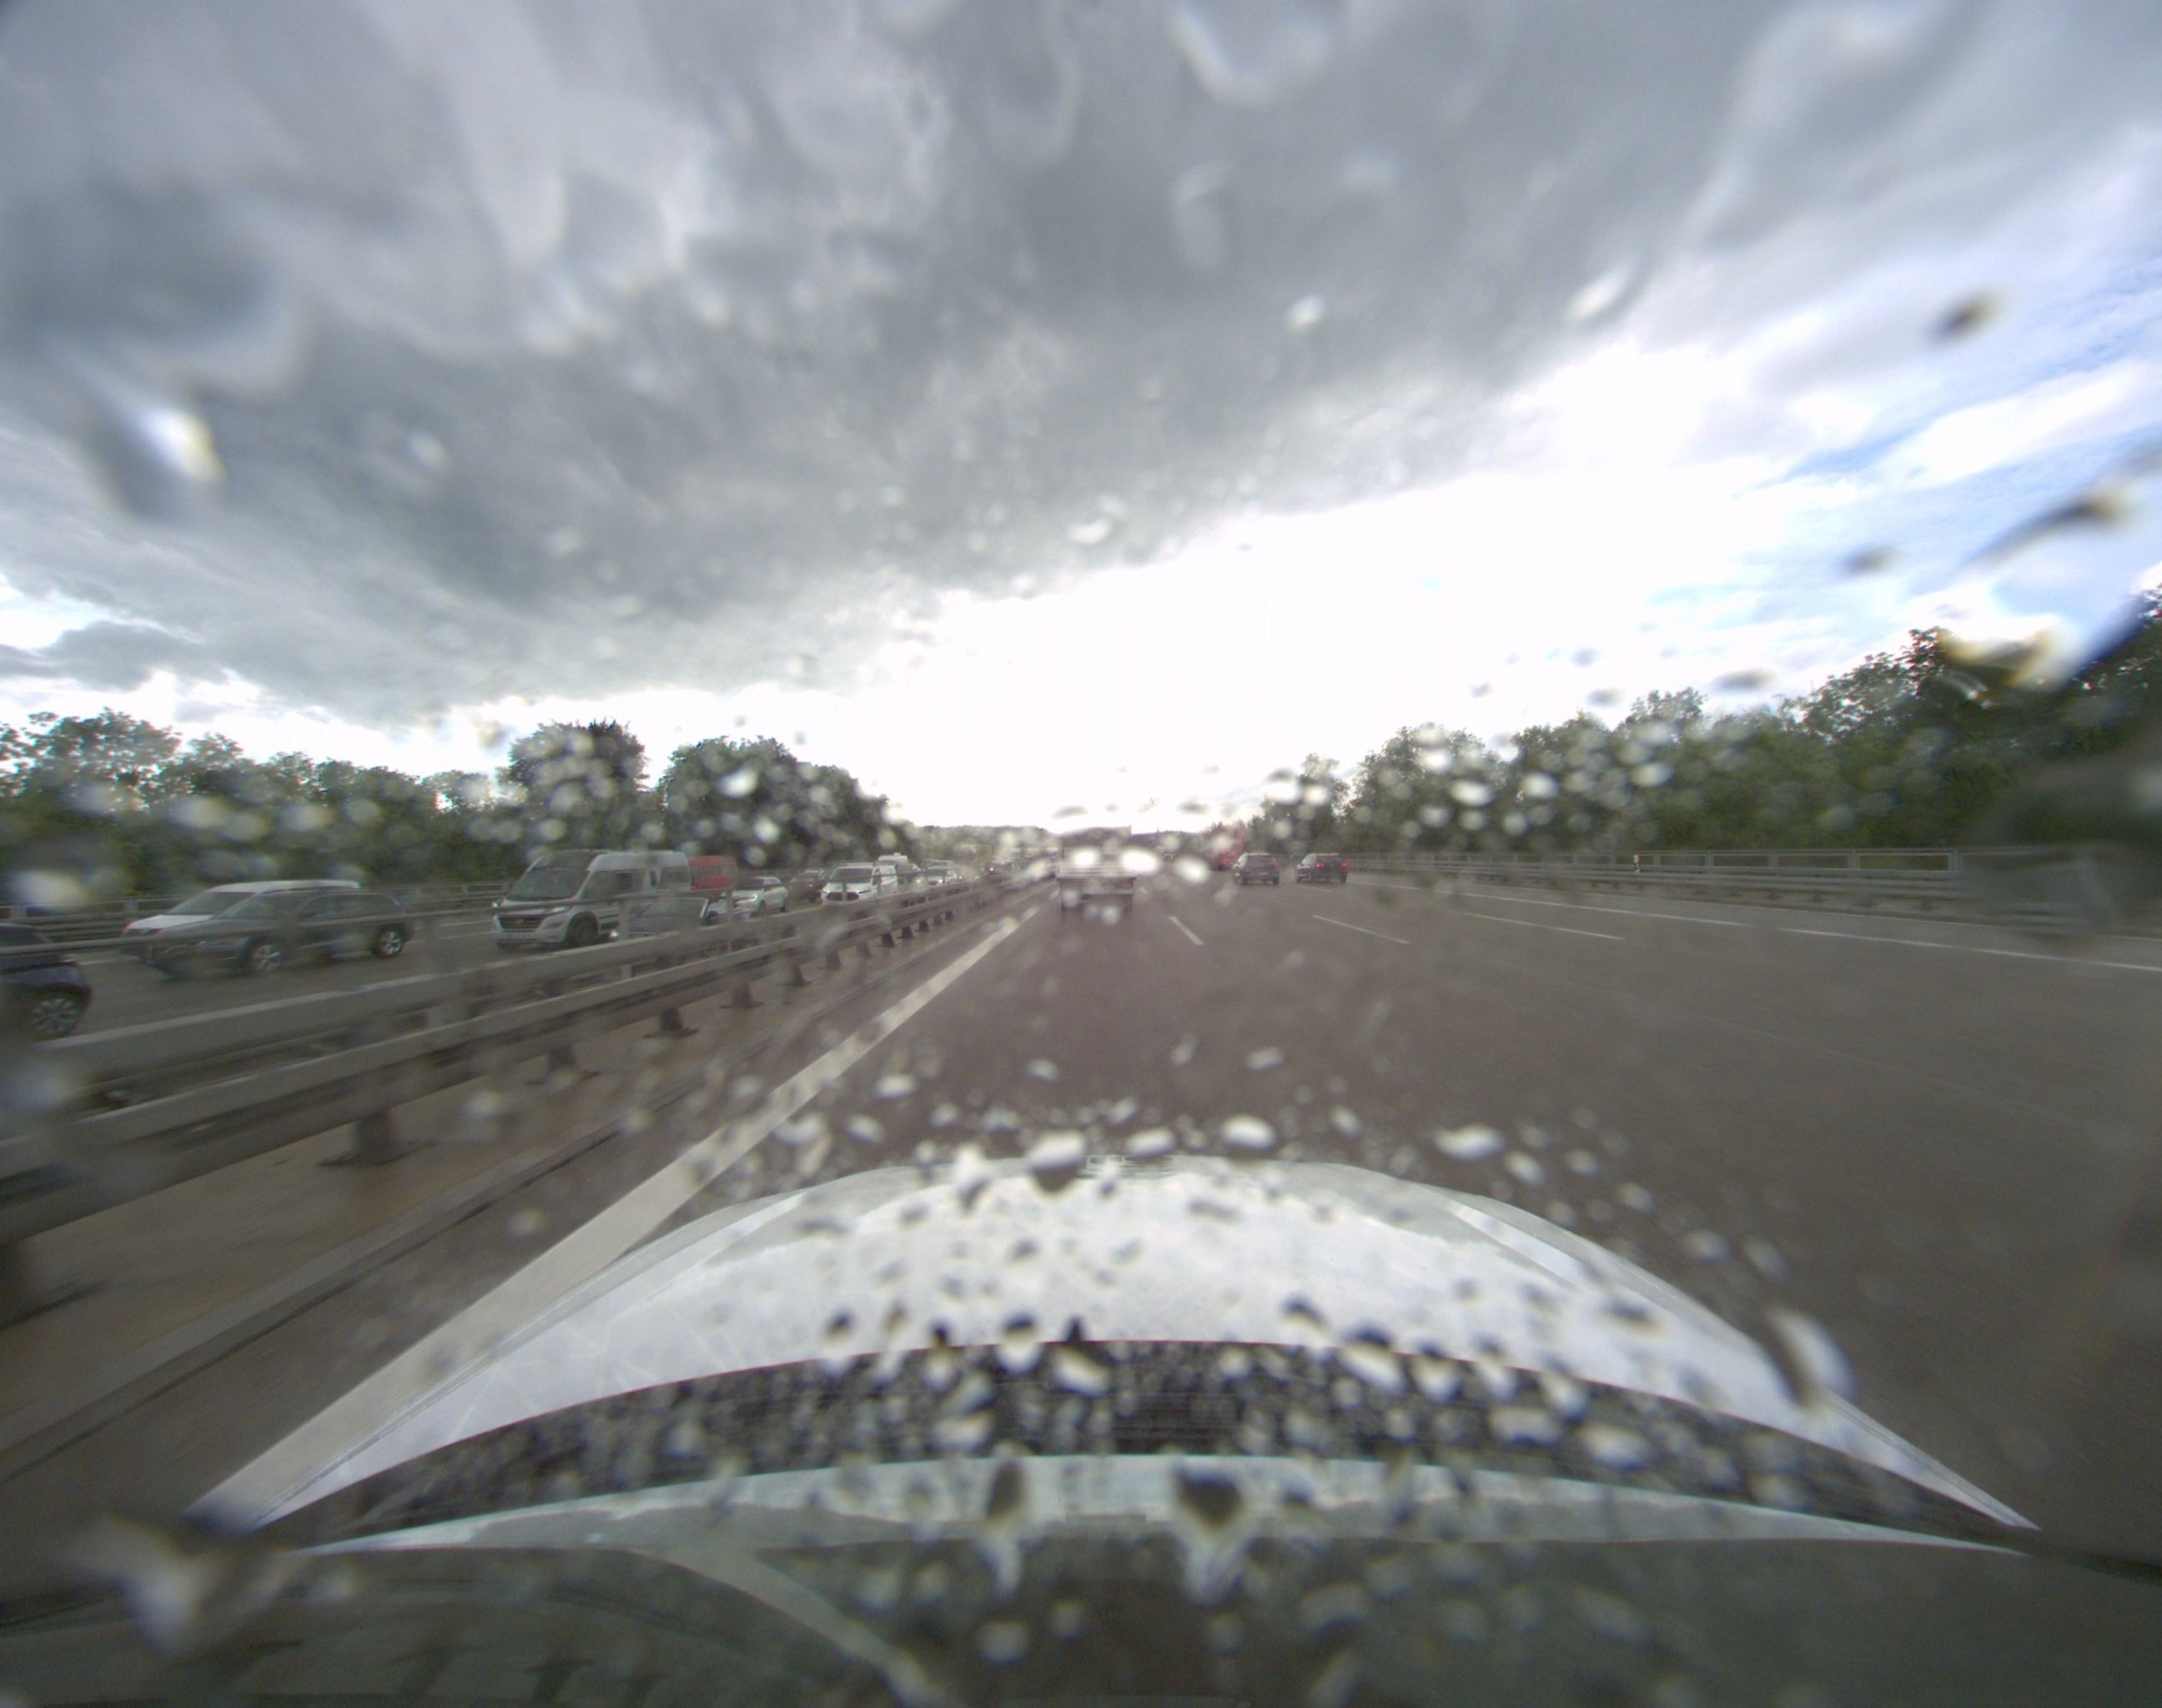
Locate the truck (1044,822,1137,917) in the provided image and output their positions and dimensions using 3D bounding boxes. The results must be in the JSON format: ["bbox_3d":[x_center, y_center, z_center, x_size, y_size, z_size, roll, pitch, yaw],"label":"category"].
[{"bbox_3d":[0.332,0.391,24.472,2.344,2.408,7.360,0,0,1],"label":"truck"}]

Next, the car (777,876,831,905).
[{"bbox_3d":[-16.502,2.140,48.694,1.784,1.501,4.000,-2,0,0],"label":"car"}]

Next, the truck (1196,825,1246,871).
[{"bbox_3d":[13.550,-0.560,80.213,3.138,4.003,15.652,-1,0,4],"label":"truck"}]

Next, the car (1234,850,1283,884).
[{"bbox_3d":[8.708,0.632,40.231,1.785,1.562,3.725,-1,0,3],"label":"car"}]

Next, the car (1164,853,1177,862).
[{"bbox_3d":[18.114,0.724,164.980,2.038,1.699,5.008,-1,0,1],"label":"car"}]

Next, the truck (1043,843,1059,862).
[{"bbox_3d":[-6.806,-0.273,187.406,2.869,4.180,7.562,-2,0,3],"label":"truck"}]

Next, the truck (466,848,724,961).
[{"bbox_3d":[-13.408,1.195,23.644,2.139,2.602,8.755,-2,0,0],"label":"truck"}]

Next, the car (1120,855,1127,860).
[{"bbox_3d":[12.332,1.112,236.524,1.805,1.446,4.001,-2,0,2],"label":"car"}]

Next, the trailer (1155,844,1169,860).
[{"bbox_3d":[22.095,-0.565,222.566,3.317,4.176,11.853,-1,0,5],"label":"trailer"}]

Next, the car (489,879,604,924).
[{"bbox_3d":[-21.286,1.833,32.681,1.480,1.475,4.612,-2,0,1],"label":"car"}]

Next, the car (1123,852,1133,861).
[{"bbox_3d":[9.730,0.470,168.547,1.965,1.699,4.001,-1,0,1],"label":"car"}]

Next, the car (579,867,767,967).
[{"bbox_3d":[-9.453,1.348,19.395,1.941,1.949,4.726,-2,0,1],"label":"car"}]

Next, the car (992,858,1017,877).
[{"bbox_3d":[-7.724,1.345,82.627,1.859,1.826,5.709,-2,0,0],"label":"car"}]

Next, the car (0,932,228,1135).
[{"bbox_3d":[-9.709,1.568,5.338,1.825,1.475,5.926,-2,0,2],"label":"car"}]

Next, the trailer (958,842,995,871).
[{"bbox_3d":[-16.778,0.420,132.070,3.234,4.228,14.519,-2,0,3],"label":"trailer"}]

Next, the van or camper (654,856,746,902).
[{"bbox_3d":[-20.798,1.276,44.809,1.933,2.305,6.236,-2,0,1],"label":"van or camper"}]

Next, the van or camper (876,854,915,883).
[{"bbox_3d":[-18.724,1.401,82.461,2.194,2.765,7.231,-2,0,0],"label":"van or camper"}]

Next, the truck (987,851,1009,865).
[{"bbox_3d":[-15.492,0.695,152.615,2.670,2.371,9.281,-2,0,3],"label":"truck"}]

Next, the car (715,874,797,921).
[{"bbox_3d":[-13.103,1.713,33.104,1.671,1.636,4.000,-2,0,0],"label":"car"}]

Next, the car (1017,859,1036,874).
[{"bbox_3d":[-6.585,1.443,98.627,1.861,1.669,5.174,-2,0,0],"label":"car"}]

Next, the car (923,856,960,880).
[{"bbox_3d":[-11.647,1.152,68.171,1.885,1.902,5.006,-2,-1,3],"label":"car"}]

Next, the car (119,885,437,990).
[{"bbox_3d":[-17.099,1.669,17.836,1.825,1.709,5.067,-2,0,1],"label":"car"}]

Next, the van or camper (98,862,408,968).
[{"bbox_3d":[-21.448,1.429,21.645,2.039,2.330,5.936,-2,0,1],"label":"van or camper"}]

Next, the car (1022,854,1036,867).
[{"bbox_3d":[-10.792,1.311,170.583,2.147,2.504,6.777,-2,0,3],"label":"car"}]

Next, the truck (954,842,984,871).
[{"bbox_3d":[-17.168,0.444,125.411,3.234,4.250,6.886,-2,0,3],"label":"truck"}]

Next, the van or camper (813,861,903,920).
[{"bbox_3d":[-8.876,1.386,32.916,1.977,2.068,5.643,-2,0,0],"label":"van or camper"}]

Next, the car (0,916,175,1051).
[{"bbox_3d":[-13.931,1.658,9.650,1.825,1.475,4.033,-2,0,0],"label":"car"}]

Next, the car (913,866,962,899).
[{"bbox_3d":[-8.493,1.658,48.585,1.818,1.675,5.359,-2,0,1],"label":"car"}]

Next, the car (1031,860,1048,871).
[{"bbox_3d":[-5.668,1.593,112.366,1.987,1.463,4.842,-2,0,0],"label":"car"}]

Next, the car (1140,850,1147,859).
[{"bbox_3d":[17.577,0.146,229.833,2.036,2.498,4.005,-1,0,4],"label":"car"}]

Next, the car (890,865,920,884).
[{"bbox_3d":[-15.508,1.806,72.018,1.671,1.579,4.000,-2,0,0],"label":"car"}]

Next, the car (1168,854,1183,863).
[{"bbox_3d":[16.491,0.787,142.534,2.097,1.605,5.067,-1,0,1],"label":"car"}]

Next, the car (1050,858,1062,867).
[{"bbox_3d":[-4.267,1.480,139.643,1.756,1.383,4.821,-2,0,1],"label":"car"}]

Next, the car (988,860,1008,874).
[{"bbox_3d":[-10.393,1.638,102.128,1.850,1.708,4.002,-2,0,2],"label":"car"}]

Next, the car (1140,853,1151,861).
[{"bbox_3d":[13.354,0.663,168.910,2.037,1.699,4.002,-1,0,2],"label":"car"}]

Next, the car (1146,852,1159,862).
[{"bbox_3d":[13.074,0.517,149.700,2.090,1.699,4.001,-1,0,1],"label":"car"}]

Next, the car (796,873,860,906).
[{"bbox_3d":[-12.980,1.792,42.077,1.671,1.409,5.016,-2,0,0],"label":"car"}]

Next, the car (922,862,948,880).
[{"bbox_3d":[-14.911,1.734,83.400,1.722,1.612,4.463,-3,1,0],"label":"car"}]

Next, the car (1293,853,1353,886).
[{"bbox_3d":[12.223,0.742,41.425,1.808,1.543,4.359,-1,0,1],"label":"car"}]

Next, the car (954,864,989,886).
[{"bbox_3d":[-8.254,1.559,61.830,1.867,1.392,5.365,-2,0,0],"label":"car"}]
